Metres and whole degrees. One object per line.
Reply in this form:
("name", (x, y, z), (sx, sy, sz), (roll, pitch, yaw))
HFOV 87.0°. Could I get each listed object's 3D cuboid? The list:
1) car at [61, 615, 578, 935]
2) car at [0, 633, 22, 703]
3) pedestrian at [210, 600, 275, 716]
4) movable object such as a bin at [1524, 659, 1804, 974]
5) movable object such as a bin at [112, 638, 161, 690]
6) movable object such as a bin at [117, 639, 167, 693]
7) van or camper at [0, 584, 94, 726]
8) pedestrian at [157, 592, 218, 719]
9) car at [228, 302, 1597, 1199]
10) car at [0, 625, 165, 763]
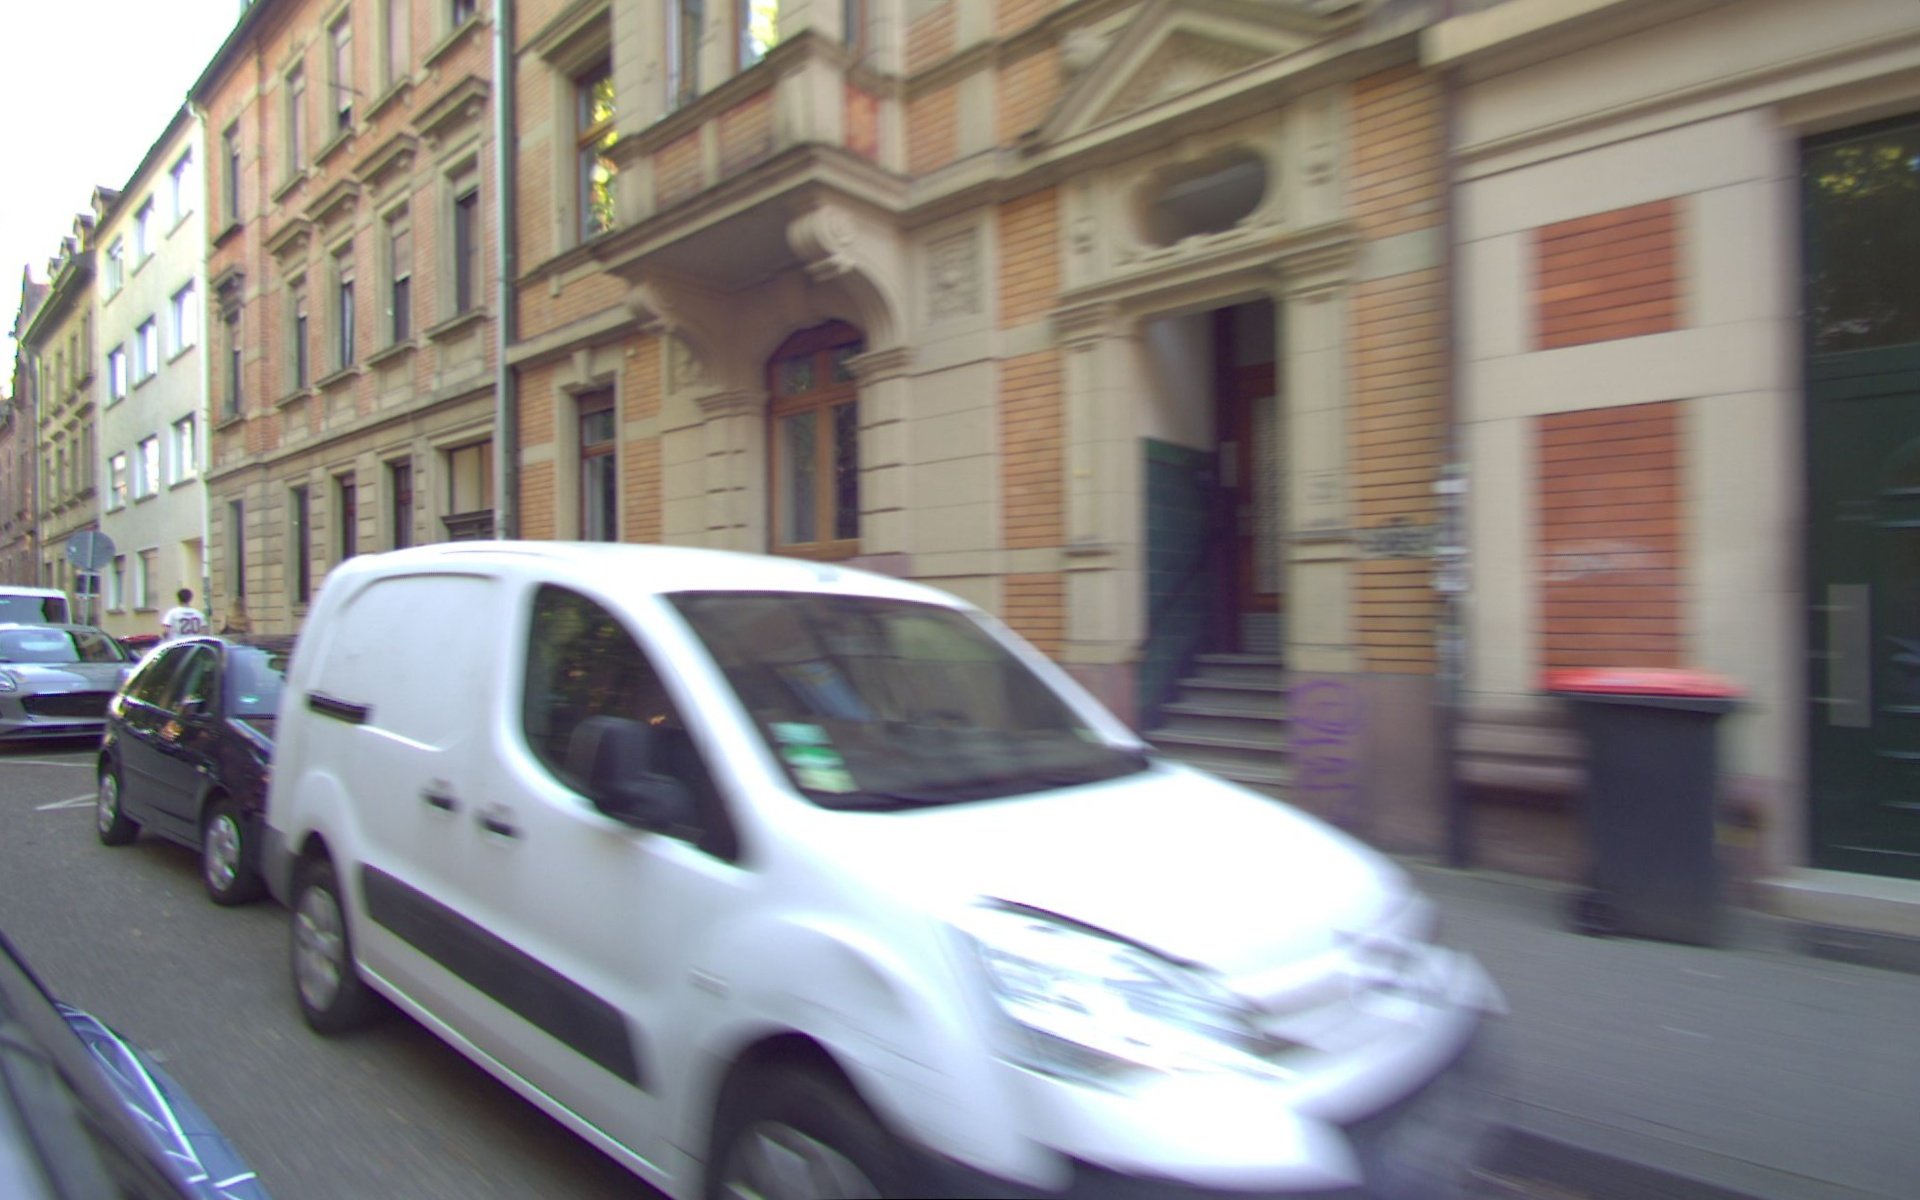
("car", (-4.413, 0.905, 6.755), (3.968, 1.526, 1.676), (-1, -3, 38))
("car", (-21.292, 1.395, 21.448), (4.314, 1.413, 1.712), (-2, -3, 43))
("pedestrian", (-11.374, 0.897, 16.046), (0.649, 1.785, 0.694), (0, 0, 41))
("movable object such as a bin", (2.848, 0.799, 4.103), (0.856, 1.049, 0.631), (-1, 1, 41))
("movable object such as a bin", (-18.313, 1.403, 22.508), (0.666, 1.096, 0.791), (0, 0, 45))
("movable object such as a bin", (-17.706, 1.422, 21.906), (0.666, 1.096, 0.791), (0, 0, 45))
("van or camper", (-16.572, 0.900, 17.213), (5.153, 2.164, 2.153), (-2, -3, 43))
("pedestrian", (-11.931, 0.823, 15.625), (0.904, 1.896, 0.573), (0, 0, 41))
("car", (-0.699, 0.630, 3.392), (4.569, 1.825, 1.812), (-2, -3, 41))
("car", (-11.862, 1.103, 13.015), (4.190, 1.526, 1.748), (-2, -3, 40))
